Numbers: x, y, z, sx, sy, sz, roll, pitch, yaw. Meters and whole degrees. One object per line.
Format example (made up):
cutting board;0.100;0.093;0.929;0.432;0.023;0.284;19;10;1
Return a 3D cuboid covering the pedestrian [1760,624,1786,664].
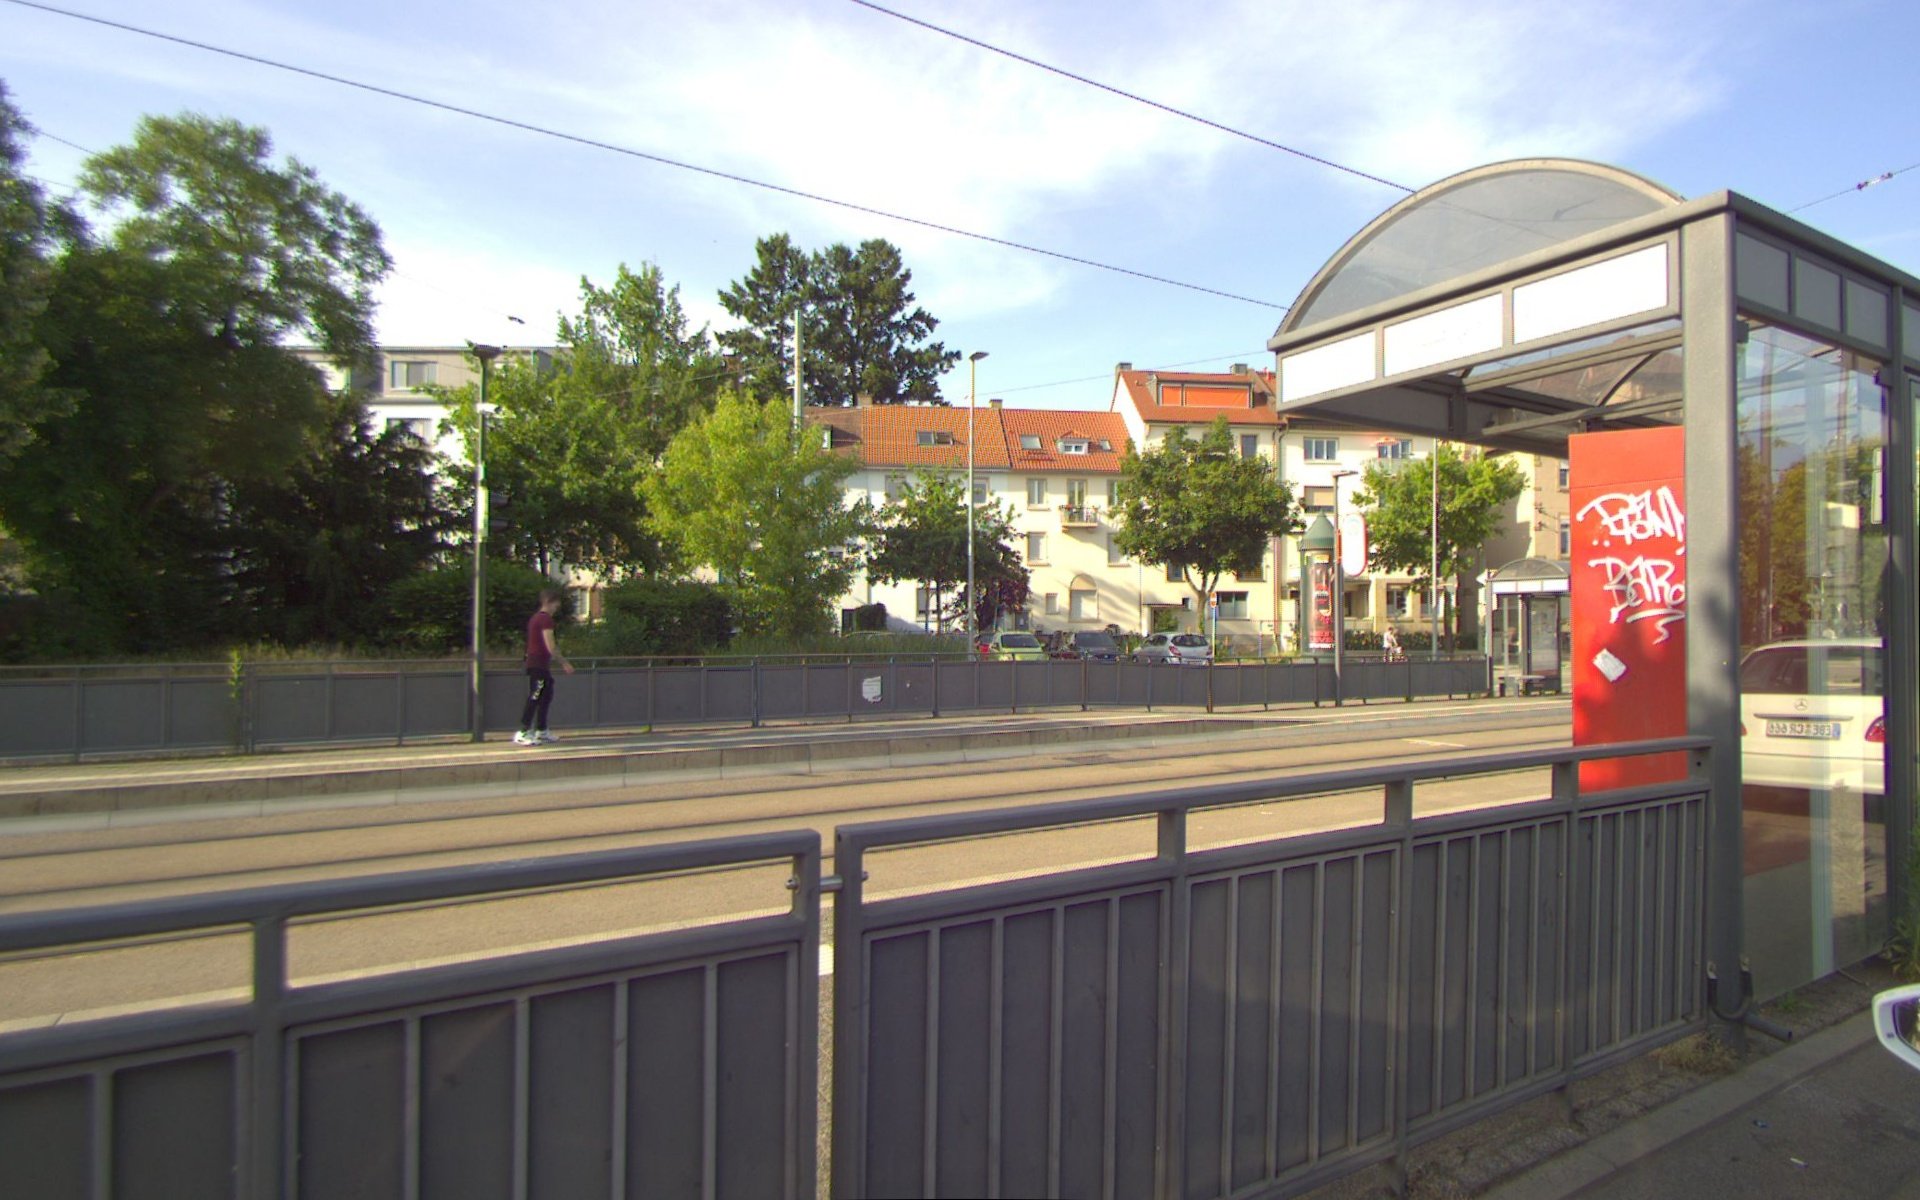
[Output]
pedestrian;36.976;2.005;45.680;0.736;1.776;0.663;0;-1;-26

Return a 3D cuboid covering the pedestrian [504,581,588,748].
pedestrian;-4.597;0.698;11.138;0.763;1.756;0.832;0;-2;-30

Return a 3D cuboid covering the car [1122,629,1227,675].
car;7.328;1.747;34.678;1.967;1.416;3.988;0;-1;-15

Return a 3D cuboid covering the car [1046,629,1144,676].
car;4.517;1.739;34.214;1.967;1.416;3.988;0;-1;-15

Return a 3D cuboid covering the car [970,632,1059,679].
car;1.777;1.827;34.027;1.966;1.416;3.990;0;-1;-13

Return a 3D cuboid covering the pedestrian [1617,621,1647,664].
pedestrian;28.045;1.769;41.950;0.740;1.776;0.879;1;-1;-41
